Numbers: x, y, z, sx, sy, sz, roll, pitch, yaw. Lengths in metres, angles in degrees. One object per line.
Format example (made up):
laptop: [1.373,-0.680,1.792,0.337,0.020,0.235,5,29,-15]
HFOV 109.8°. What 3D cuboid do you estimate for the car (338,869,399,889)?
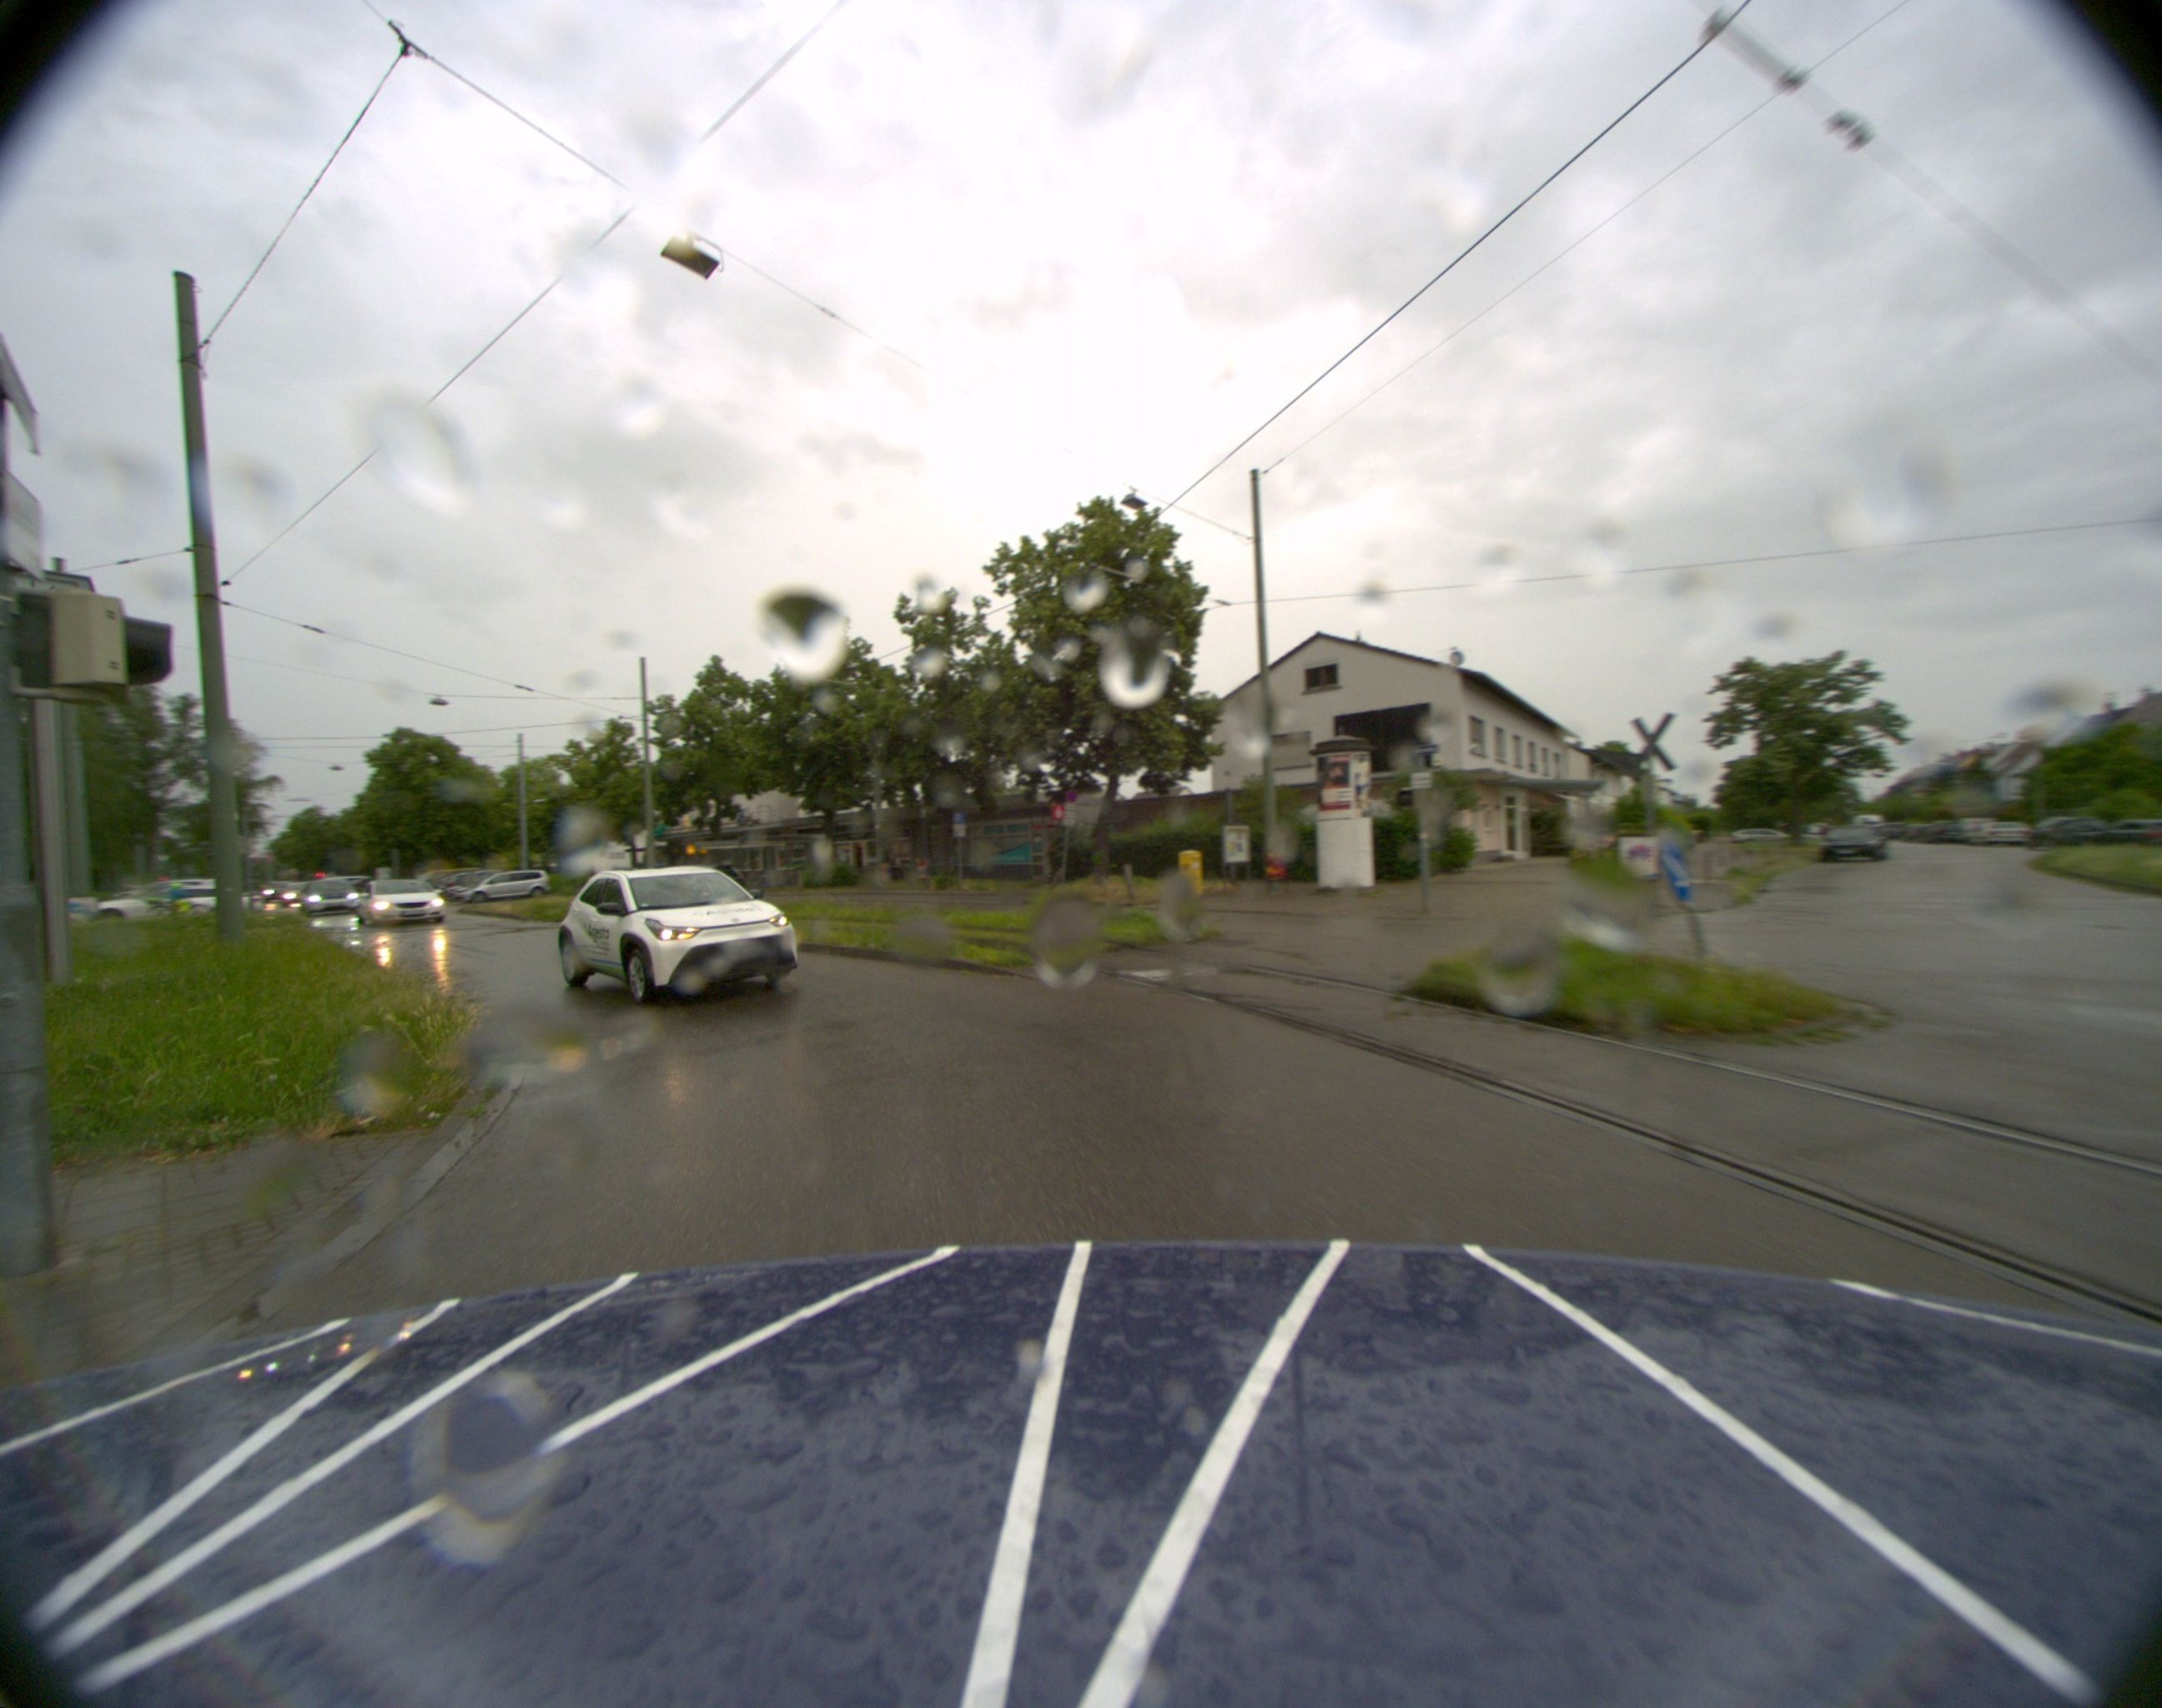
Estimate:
car: [-79.076,2.754,84.372,1.893,1.932,4.557,-2,2,40]

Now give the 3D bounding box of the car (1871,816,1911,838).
car: [77.347,-2.594,72.584,1.994,1.784,4.006,-1,3,38]

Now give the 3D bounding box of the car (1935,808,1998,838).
car: [59.106,-2.100,50.810,1.994,1.784,4.006,-1,3,38]

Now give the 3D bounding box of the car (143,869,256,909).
car: [-55.932,2.194,48.298,1.718,2.051,4.452,-1,3,38]

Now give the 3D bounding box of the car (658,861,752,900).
car: [-16.211,1.142,32.726,3.614,1.495,1.554,-2,3,24]

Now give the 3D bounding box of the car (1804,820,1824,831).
car: [127.203,-4.971,131.880,1.994,1.784,4.006,-1,3,38]

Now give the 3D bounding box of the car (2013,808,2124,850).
car: [47.057,-1.237,36.323,1.995,1.784,4.006,-2,3,33]

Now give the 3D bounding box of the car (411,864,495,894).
car: [-47.985,1.863,58.131,1.893,1.932,4.557,-2,2,40]

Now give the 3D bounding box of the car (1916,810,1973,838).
car: [62.397,-2.170,54.976,1.994,1.784,4.006,-1,3,38]

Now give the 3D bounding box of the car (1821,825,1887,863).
car: [34.571,-0.465,33.960,4.006,1.454,1.785,-5,3,-40]

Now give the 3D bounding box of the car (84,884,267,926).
car: [-38.032,2.081,32.137,1.994,1.449,4.852,-2,-1,42]

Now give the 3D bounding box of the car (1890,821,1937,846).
car: [69.041,-1.735,63.067,1.994,1.784,4.006,-1,3,38]

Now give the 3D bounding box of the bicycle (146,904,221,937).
bicycle: [-36.062,2.644,30.565,0.727,1.123,1.756,-3,1,23]

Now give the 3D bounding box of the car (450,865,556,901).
car: [-32.581,1.603,42.914,1.994,1.664,4.345,-2,2,40]

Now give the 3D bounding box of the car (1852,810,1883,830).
car: [89.078,-3.862,86.066,1.994,2.023,4.006,-1,3,40]

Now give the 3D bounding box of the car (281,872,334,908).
car: [-48.736,2.205,47.853,3.989,2.003,2.003,-1,4,41]

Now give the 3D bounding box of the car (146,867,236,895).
car: [-71.558,2.151,61.185,1.893,1.932,4.557,-2,2,40]

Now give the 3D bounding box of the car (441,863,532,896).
car: [-37.311,1.589,47.746,1.893,1.699,4.098,-2,2,40]

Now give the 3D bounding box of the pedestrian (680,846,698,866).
pedestrian: [-31.154,0.155,60.425,1.082,1.575,0.945,-3,2,-38]

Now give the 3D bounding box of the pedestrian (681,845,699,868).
pedestrian: [-30.606,0.185,59.491,1.082,1.704,0.945,-3,2,-38]

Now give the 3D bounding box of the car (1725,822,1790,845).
car: [56.964,-1.736,64.063,3.989,1.673,2.003,-2,3,38]

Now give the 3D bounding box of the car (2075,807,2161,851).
car: [43.812,-1.077,31.380,1.995,1.565,4.132,-2,3,32]

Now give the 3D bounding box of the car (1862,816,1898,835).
car: [80.241,-2.861,76.337,1.941,1.685,4.006,-1,3,38]

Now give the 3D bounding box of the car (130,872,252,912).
car: [-51.912,2.177,44.460,1.718,1.836,4.453,-1,3,42]

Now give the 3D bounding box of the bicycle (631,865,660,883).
bicycle: [-26.508,1.210,46.220,1.746,1.066,0.595,-2,0,24]

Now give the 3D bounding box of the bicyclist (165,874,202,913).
bicyclist: [-36.123,1.598,30.575,0.723,1.508,0.699,-3,1,23]

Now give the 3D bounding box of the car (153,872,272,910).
car: [-45.904,1.906,40.280,1.718,1.577,4.006,-1,3,42]

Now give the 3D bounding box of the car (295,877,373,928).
car: [-33.949,2.127,34.497,3.989,2.003,2.003,-1,3,40]

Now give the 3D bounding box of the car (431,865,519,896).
car: [-39.418,1.698,49.504,1.893,1.699,4.098,-2,2,40]

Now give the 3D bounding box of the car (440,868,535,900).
car: [-35.790,1.756,45.890,1.994,1.562,4.098,-2,2,40]

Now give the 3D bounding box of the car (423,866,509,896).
car: [-41.702,1.781,51.589,1.893,1.699,4.098,-2,2,40]

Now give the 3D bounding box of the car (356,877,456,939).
car: [-21.441,1.618,24.086,3.988,1.544,1.967,1,4,43]

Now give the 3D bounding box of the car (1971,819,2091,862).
car: [36.185,-0.528,29.076,1.994,1.467,4.008,-1,1,38]

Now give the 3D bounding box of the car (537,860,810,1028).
car: [-5.211,1.013,9.525,3.705,1.614,1.724,-4,0,41]

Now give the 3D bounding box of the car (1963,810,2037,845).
car: [54.192,-1.581,44.895,1.994,1.784,4.006,-1,3,38]

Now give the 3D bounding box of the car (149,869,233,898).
car: [-76.362,2.472,65.251,1.718,2.051,4.452,-1,3,38]

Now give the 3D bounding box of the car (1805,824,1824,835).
car: [131.141,-4.363,135.843,1.994,1.784,4.006,-1,3,38]
